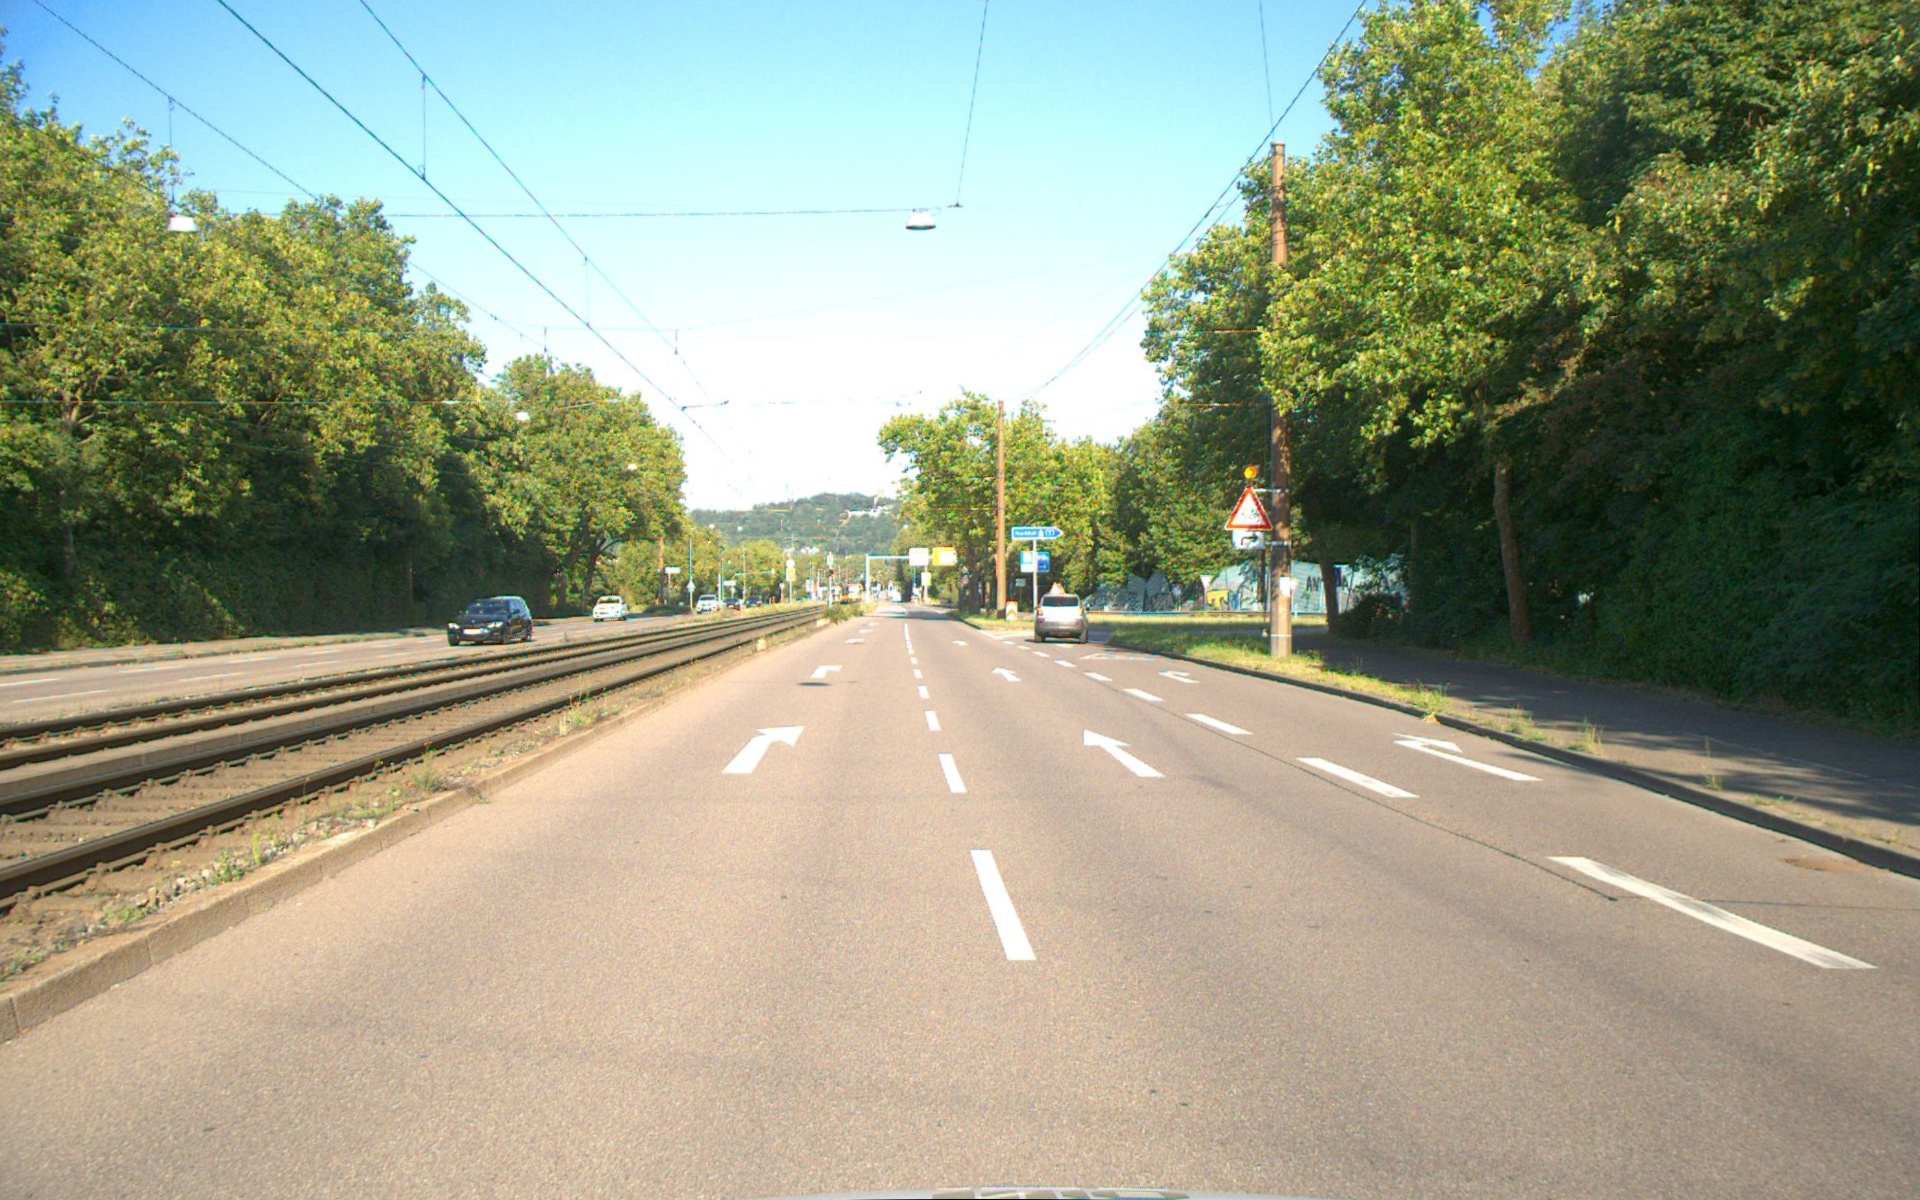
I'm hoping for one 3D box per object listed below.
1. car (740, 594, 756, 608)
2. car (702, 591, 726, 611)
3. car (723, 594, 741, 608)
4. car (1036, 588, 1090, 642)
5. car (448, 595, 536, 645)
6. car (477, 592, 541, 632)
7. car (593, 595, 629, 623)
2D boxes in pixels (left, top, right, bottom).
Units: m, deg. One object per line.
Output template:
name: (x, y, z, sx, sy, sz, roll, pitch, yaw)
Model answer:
car: (-28.481, 0.134, 222.320, 1.861, 1.724, 4.936, -2, 0, -4)
car: (-23.502, 0.100, 158.194, 1.924, 1.737, 4.939, -2, 0, -5)
car: (-26.226, 0.095, 190.251, 1.677, 1.493, 4.344, -2, 0, -4)
car: (3.590, 0.508, 58.251, 1.771, 1.804, 3.863, 1, 0, 2)
car: (-14.895, 0.611, 52.894, 1.624, 1.457, 4.500, -2, 0, -2)
car: (-19.407, 0.500, 71.339, 1.657, 1.583, 4.189, -2, 0, -2)
car: (-24.245, 0.624, 114.908, 1.810, 1.764, 4.926, -2, 0, -5)
